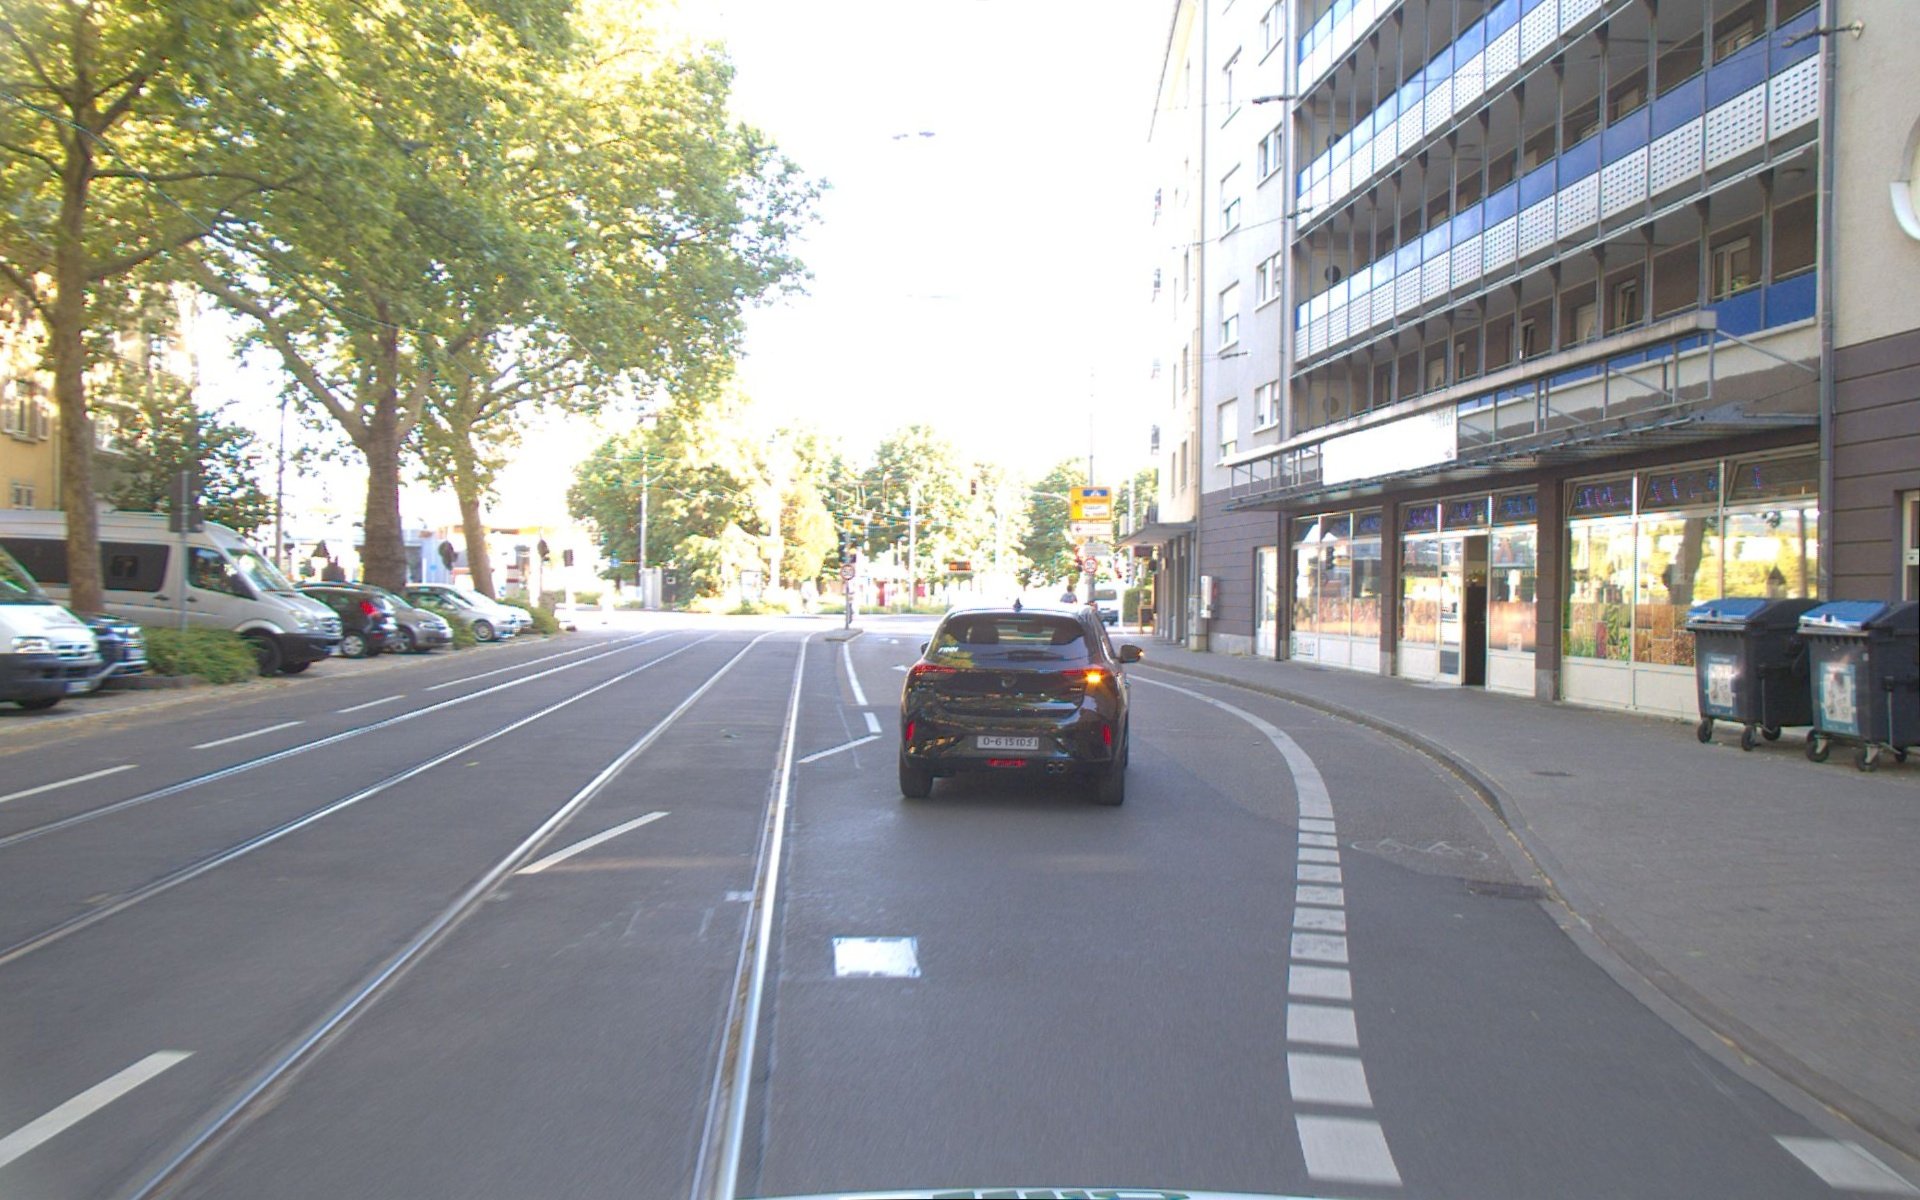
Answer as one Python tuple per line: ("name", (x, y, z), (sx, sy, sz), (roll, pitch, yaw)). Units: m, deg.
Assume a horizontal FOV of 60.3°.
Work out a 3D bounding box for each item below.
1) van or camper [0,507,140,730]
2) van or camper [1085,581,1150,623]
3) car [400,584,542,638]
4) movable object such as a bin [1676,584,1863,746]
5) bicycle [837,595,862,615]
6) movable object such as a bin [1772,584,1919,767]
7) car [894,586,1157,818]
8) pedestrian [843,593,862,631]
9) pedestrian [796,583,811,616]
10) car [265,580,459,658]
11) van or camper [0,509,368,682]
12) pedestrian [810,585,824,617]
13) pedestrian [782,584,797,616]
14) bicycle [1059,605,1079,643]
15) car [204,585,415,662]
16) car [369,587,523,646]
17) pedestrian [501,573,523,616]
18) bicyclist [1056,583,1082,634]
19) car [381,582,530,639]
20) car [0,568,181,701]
("van or camper", (-12.776, 0.129, 19.097), (5.390, 2.421, 2.269), (2, 0, -2))
("van or camper", (8.536, 0.127, 89.270), (2.125, 2.183, 4.502), (1, 0, 25))
("car", (-15.669, 0.344, 53.168), (4.090, 1.700, 1.961), (0, 0, -8))
("movable object such as a bin", (8.015, 0.615, 16.451), (1.089, 1.510, 1.386), (-1, 0, -5))
("bicycle", (-5.940, 0.270, 89.276), (0.771, 1.009, 2.245), (1, 0, 11))
("movable object such as a bin", (8.202, 0.622, 14.621), (1.163, 1.510, 1.593), (-1, 0, -5))
("car", (0.575, 0.667, 13.170), (1.744, 1.522, 4.002), (1, 1, 4))
("pedestrian", (-3.993, 0.446, 61.545), (0.639, 1.387, 0.645), (0, 0, 1))
("pedestrian", (-9.429, -0.021, 99.883), (0.645, 1.966, 0.608), (1, 0, 27))
("car", (-13.944, 0.444, 38.724), (3.908, 1.680, 1.648), (2, 0, -4))
("van or camper", (-13.390, -0.070, 28.345), (5.612, 2.690, 2.267), (2, 0, -5))
("pedestrian", (-8.619, 0.051, 99.908), (0.603, 1.886, 0.584), (1, 0, 20))
("pedestrian", (-10.261, 0.005, 99.561), (0.604, 1.886, 0.583), (1, 0, 24))
("bicycle", (3.203, 0.698, 48.403), (0.497, 1.086, 1.565), (0, 0, 7))
("car", (-14.105, 0.494, 36.040), (3.908, 1.541, 1.648), (2, 0, -4))
("car", (-14.776, 0.468, 47.678), (3.908, 1.541, 1.648), (2, 0, -4))
("pedestrian", (-24.195, -0.304, 89.347), (0.813, 2.259, 0.887), (2, 0, -39))
("bicyclist", (3.200, 0.244, 48.537), (0.691, 1.461, 0.703), (0, 0, 7))
("car", (-15.432, 0.325, 50.782), (4.090, 1.700, 1.961), (0, 0, -8))
("car", (-12.841, 0.427, 21.966), (4.090, 1.700, 1.961), (0, 0, -8))
